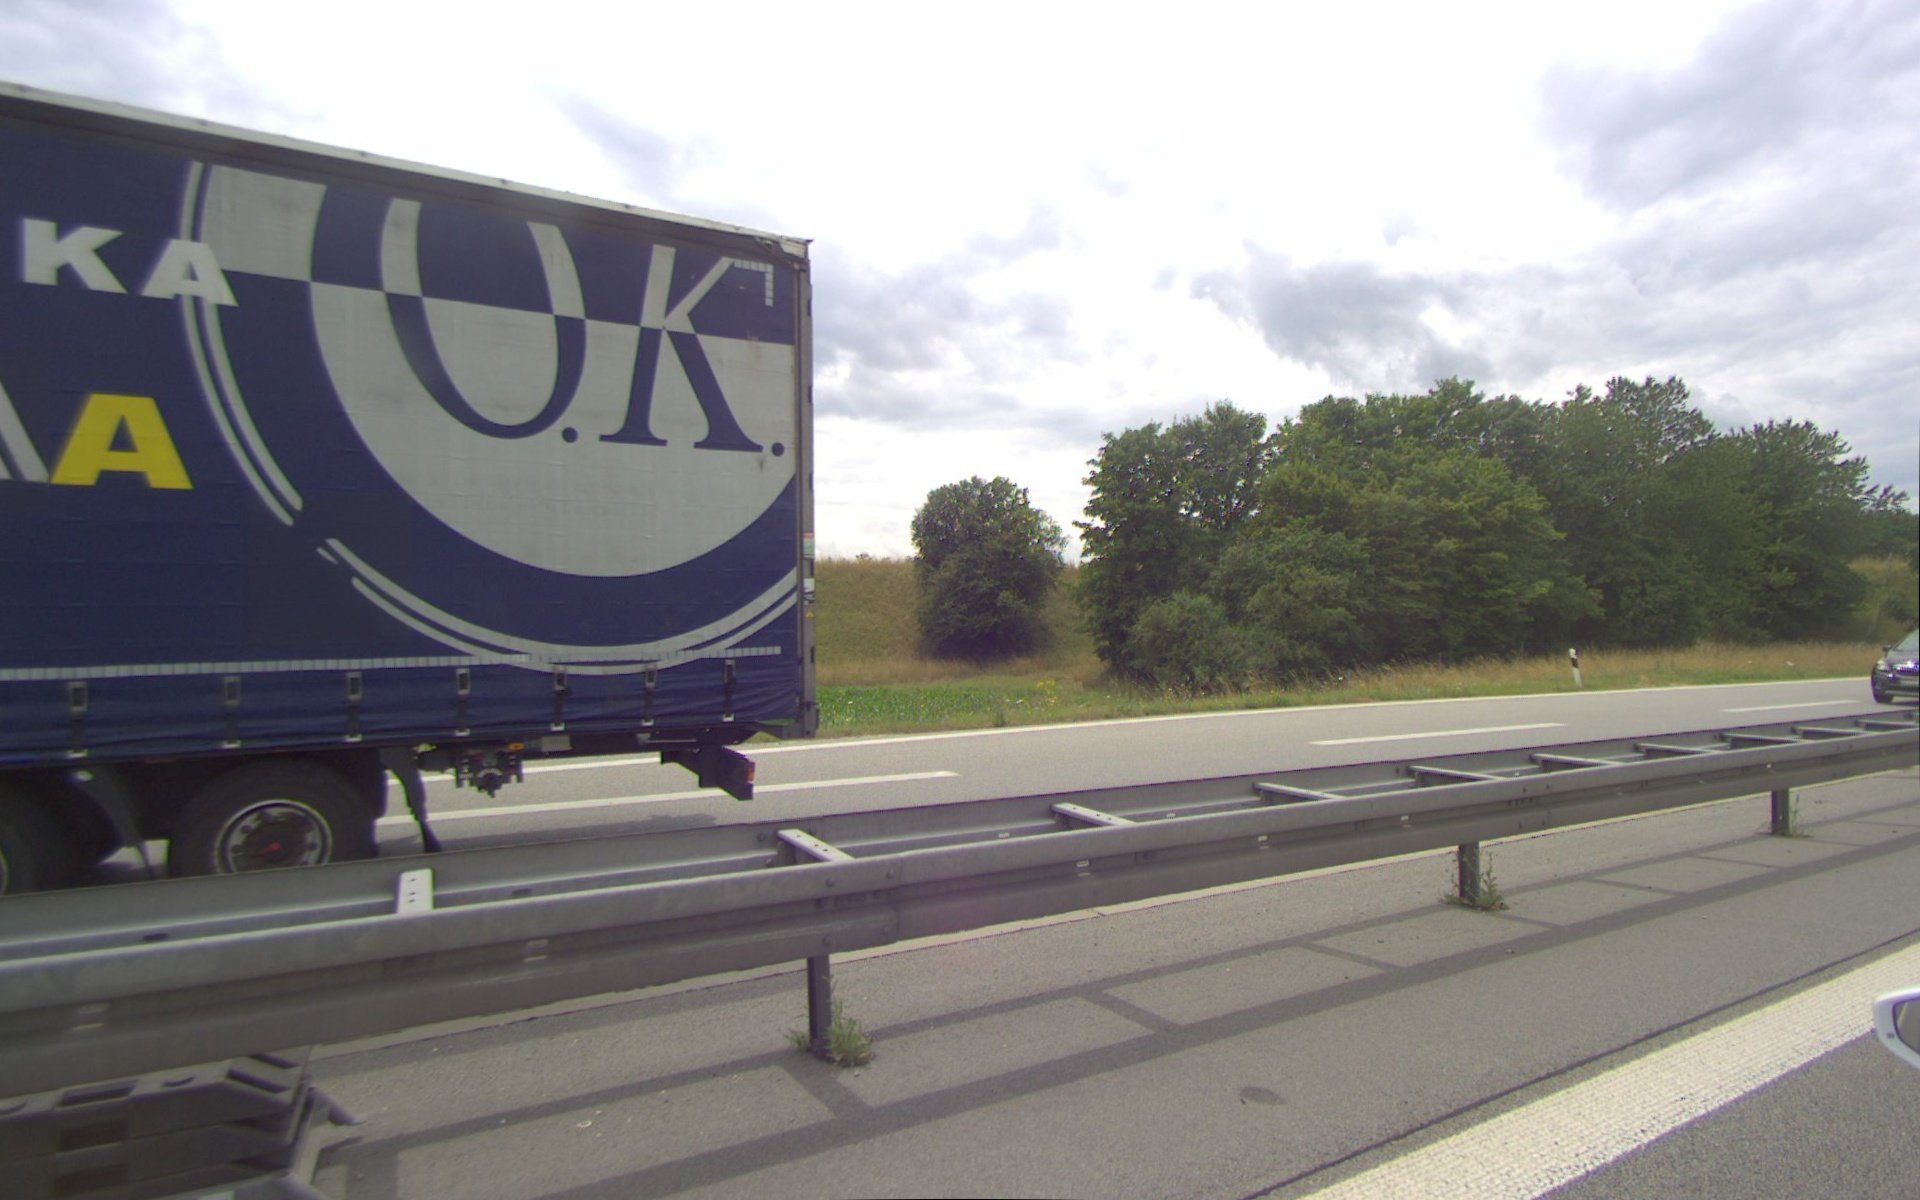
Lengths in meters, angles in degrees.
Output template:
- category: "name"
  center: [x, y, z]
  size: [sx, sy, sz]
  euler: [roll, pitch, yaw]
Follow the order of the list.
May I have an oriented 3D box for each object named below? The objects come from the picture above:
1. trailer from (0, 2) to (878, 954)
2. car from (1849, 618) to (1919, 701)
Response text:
- category: "trailer"
  center: [-7.043, -0.614, 4.433]
  size: [13.406, 4.228, 2.785]
  euler: [2, 0, -31]
- category: "car"
  center: [21.715, 1.310, 22.149]
  size: [4.185, 1.706, 1.983]
  euler: [2, 0, -31]
